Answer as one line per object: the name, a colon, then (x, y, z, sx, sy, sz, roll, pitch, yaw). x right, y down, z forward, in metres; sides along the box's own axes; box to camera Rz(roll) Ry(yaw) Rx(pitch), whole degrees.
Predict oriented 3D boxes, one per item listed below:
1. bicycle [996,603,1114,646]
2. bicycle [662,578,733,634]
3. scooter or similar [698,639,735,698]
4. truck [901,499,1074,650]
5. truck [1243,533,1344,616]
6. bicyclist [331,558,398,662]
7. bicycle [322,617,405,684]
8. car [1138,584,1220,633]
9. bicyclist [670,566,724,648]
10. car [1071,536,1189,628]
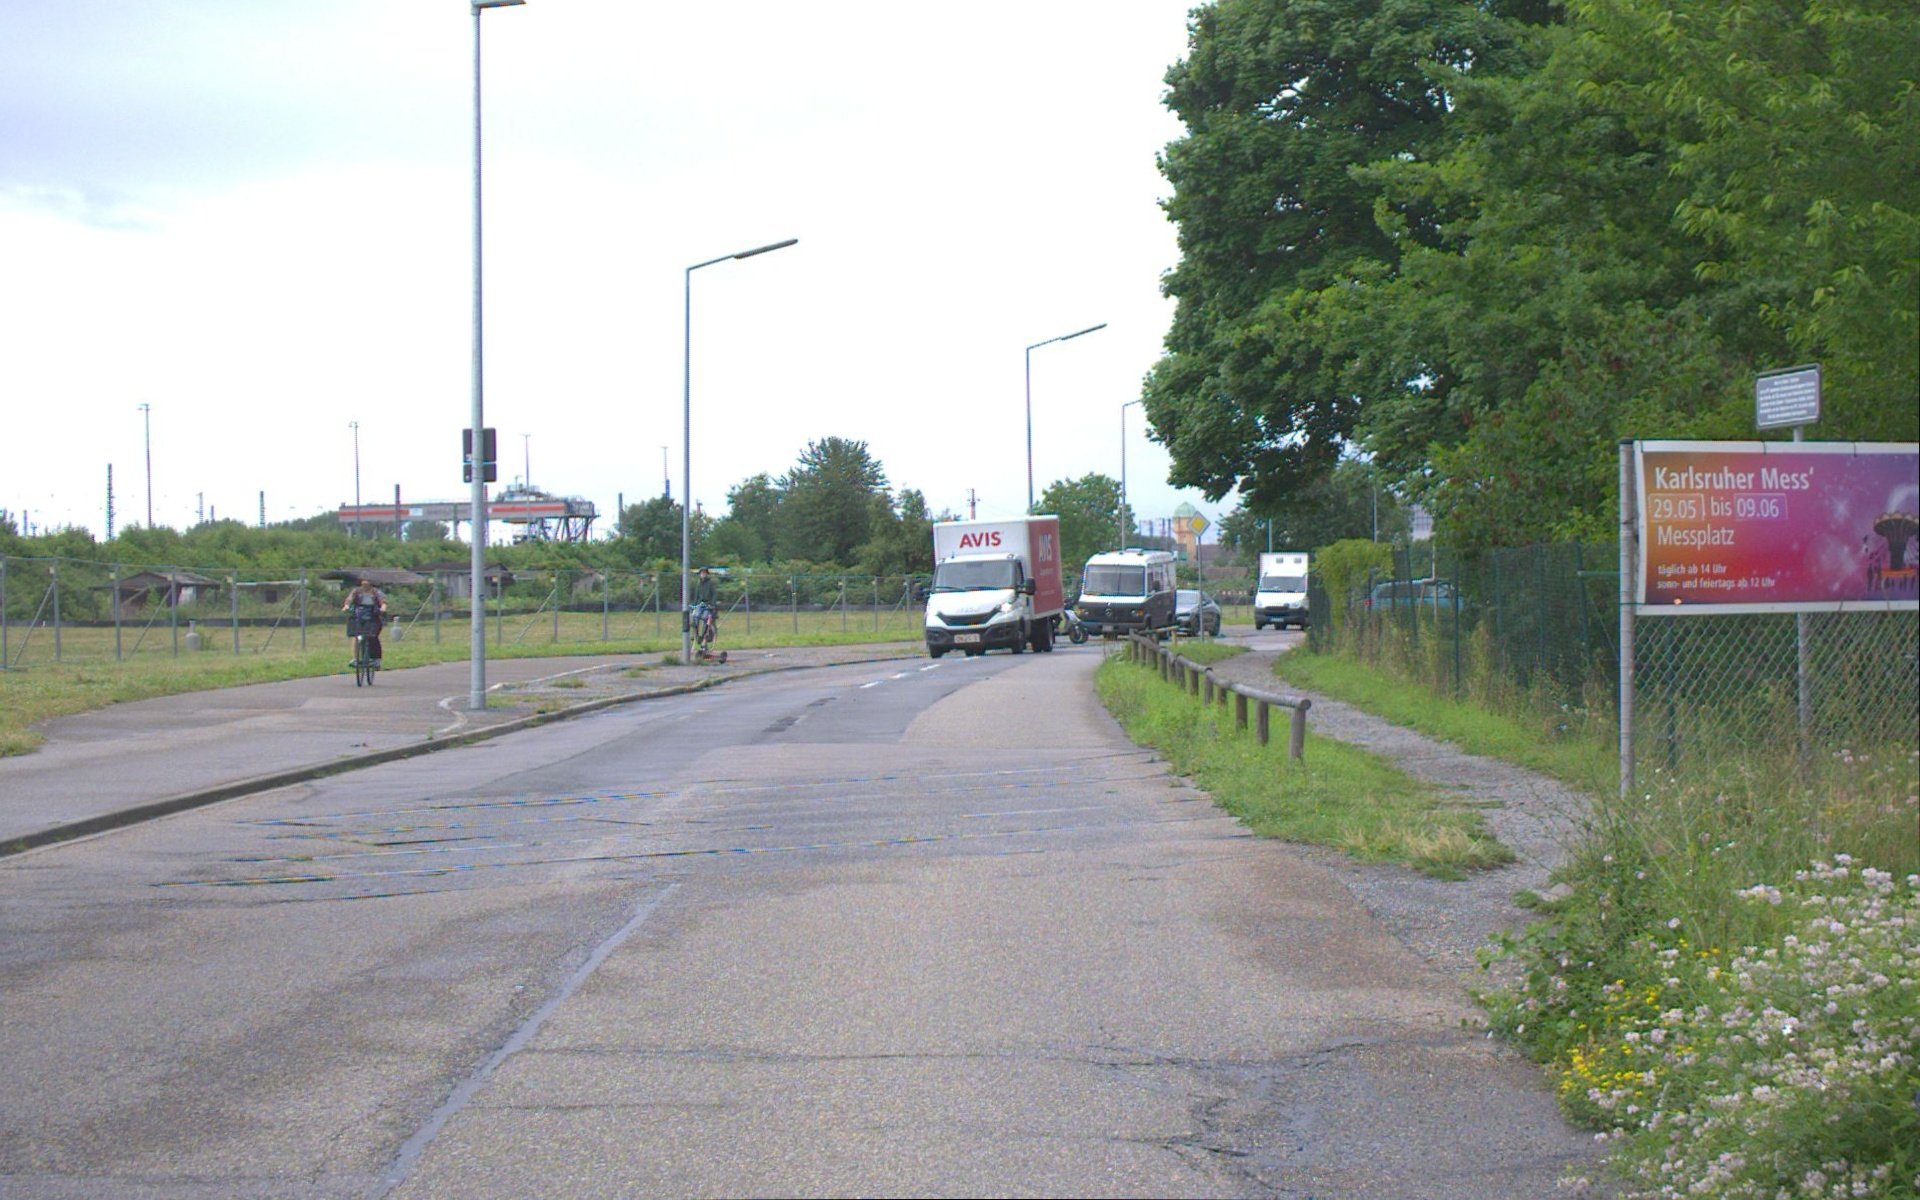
bicycle: (2.724, 0.691, 98.063, 3.122, 1.195, 1.364, 0, 1, 15)
bicycle: (-5.931, 0.119, 77.823, 0.819, 1.200, 2.555, 0, 1, 14)
scooter or similar: (-5.172, 1.454, 73.132, 0.608, 1.179, 1.702, 1, 1, 2)
truck: (0.689, -0.602, 75.917, 2.342, 3.051, 7.493, -3, 1, 11)
truck: (12.888, -1.024, 132.279, 2.463, 3.050, 8.156, -1, 1, 15)
bicyclist: (-8.836, 0.140, 51.050, 0.782, 1.521, 1.094, -1, 1, 1)
bicycle: (-8.852, 0.745, 51.078, 0.803, 0.904, 2.232, -1, 1, 1)
car: (7.226, 0.277, 113.078, 1.781, 1.499, 3.997, -1, 1, 17)
bicyclist: (-5.954, 0.155, 77.772, 0.828, 1.815, 1.329, 0, 1, 14)
car: (5.280, -0.584, 106.037, 2.302, 2.725, 6.087, 0, 1, 16)
